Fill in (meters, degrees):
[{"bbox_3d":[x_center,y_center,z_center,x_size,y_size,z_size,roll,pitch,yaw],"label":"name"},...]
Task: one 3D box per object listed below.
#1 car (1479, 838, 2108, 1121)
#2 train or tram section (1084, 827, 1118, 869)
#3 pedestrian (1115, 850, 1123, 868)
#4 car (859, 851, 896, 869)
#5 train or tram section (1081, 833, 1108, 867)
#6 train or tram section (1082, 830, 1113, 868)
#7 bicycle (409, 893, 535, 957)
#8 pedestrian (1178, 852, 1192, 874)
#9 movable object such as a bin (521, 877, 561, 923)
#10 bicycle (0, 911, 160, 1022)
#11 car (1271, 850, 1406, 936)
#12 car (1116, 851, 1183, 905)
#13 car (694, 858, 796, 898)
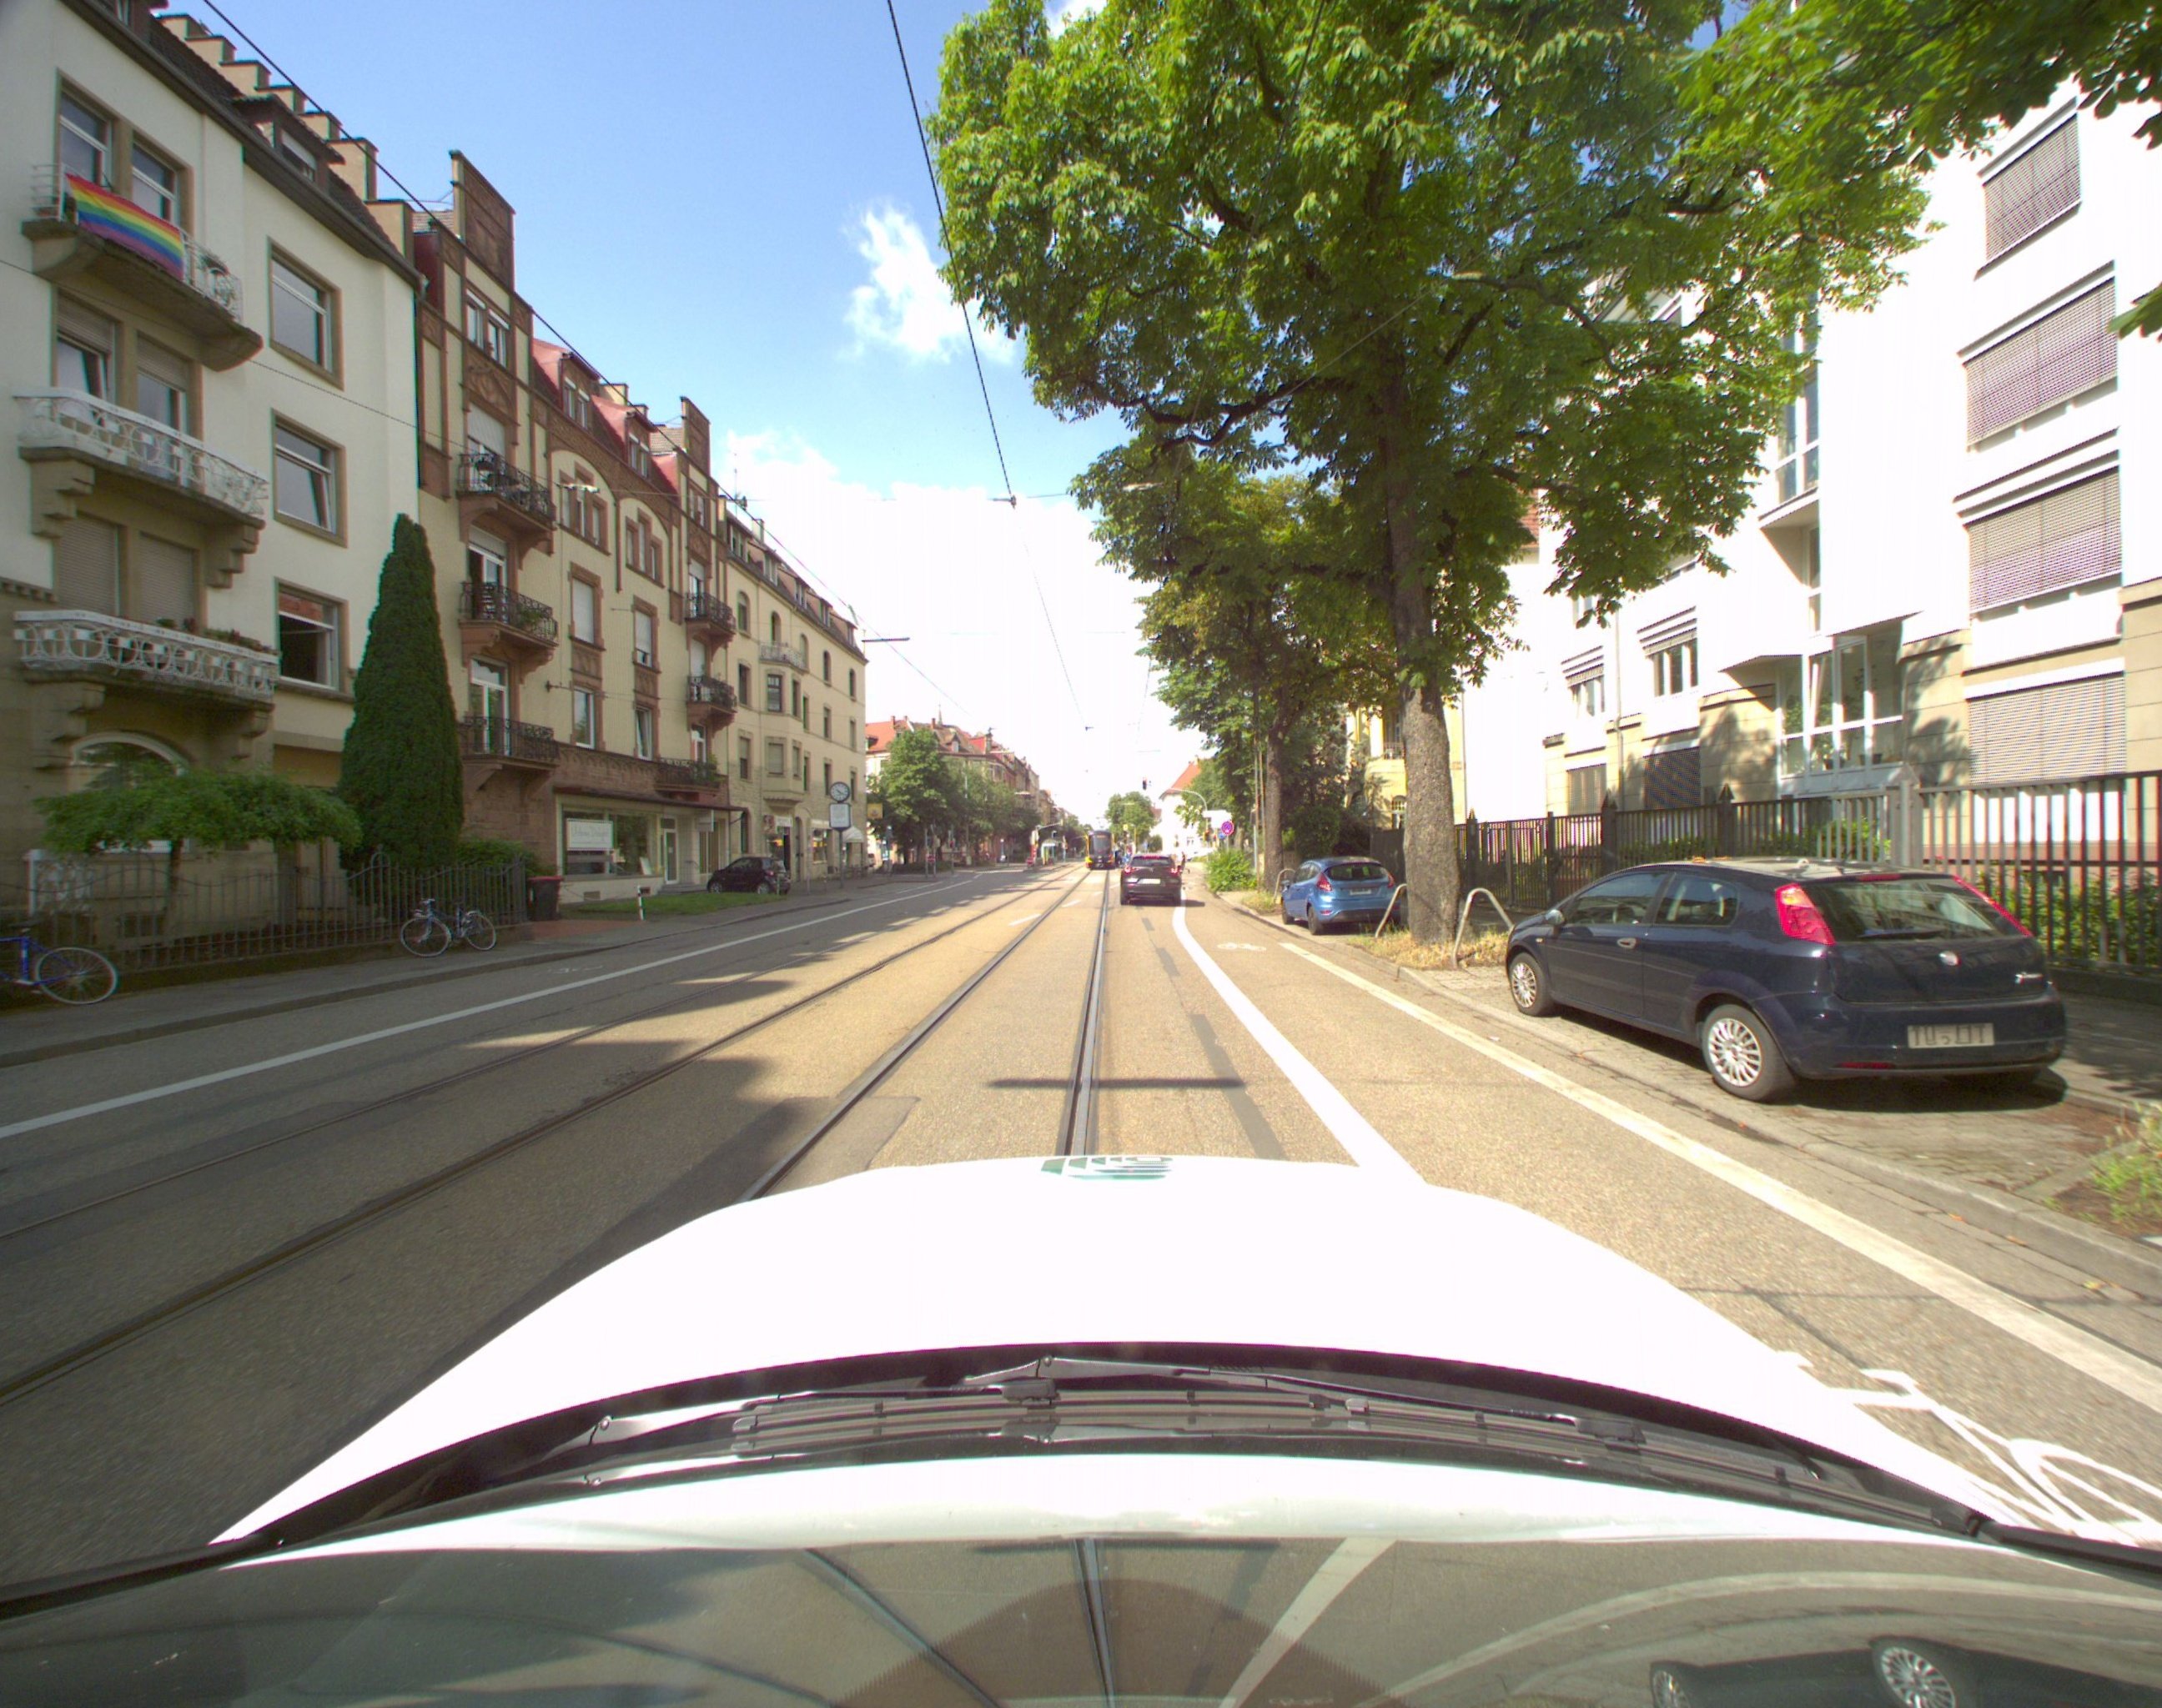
[{"bbox_3d":[4.907,0.699,6.430,1.634,1.496,3.757,-3,0,0],"label":"car"},{"bbox_3d":[1.723,-0.508,74.058,2.644,3.528,8.492,-2,0,-1],"label":"train or tram section"},{"bbox_3d":[3.584,0.458,76.270,0.665,1.605,0.700,-1,0,0],"label":"pedestrian"},{"bbox_3d":[-26.787,0.811,107.296,4.093,2.013,2.006,-5,0,11],"label":"car"},{"bbox_3d":[1.442,-0.393,91.068,2.644,3.528,8.492,-2,0,-1],"label":"train or tram section"},{"bbox_3d":[1.582,-0.448,82.566,2.644,3.528,8.492,-2,0,-1],"label":"train or tram section"},{"bbox_3d":[-10.252,1.162,13.799,0.508,0.959,1.819,1,-1,9],"label":"bicycle"},{"bbox_3d":[7.568,0.641,59.278,0.872,1.605,0.631,-1,0,0],"label":"pedestrian"},{"bbox_3d":[-13.102,1.095,19.756,0.589,1.069,0.611,1,0,36],"label":"movable object such as a bin"},{"bbox_3d":[-10.534,1.125,8.237,0.424,0.959,1.707,0,0,4],"label":"bicycle"},{"bbox_3d":[5.200,0.719,16.953,1.618,1.496,3.849,-3,0,2],"label":"car"},{"bbox_3d":[2.027,0.666,25.145,1.783,1.512,4.351,0,0,1],"label":"car"},{"bbox_3d":[-12.998,0.913,31.614,3.221,1.513,1.681,0,0,5],"label":"car"}]
